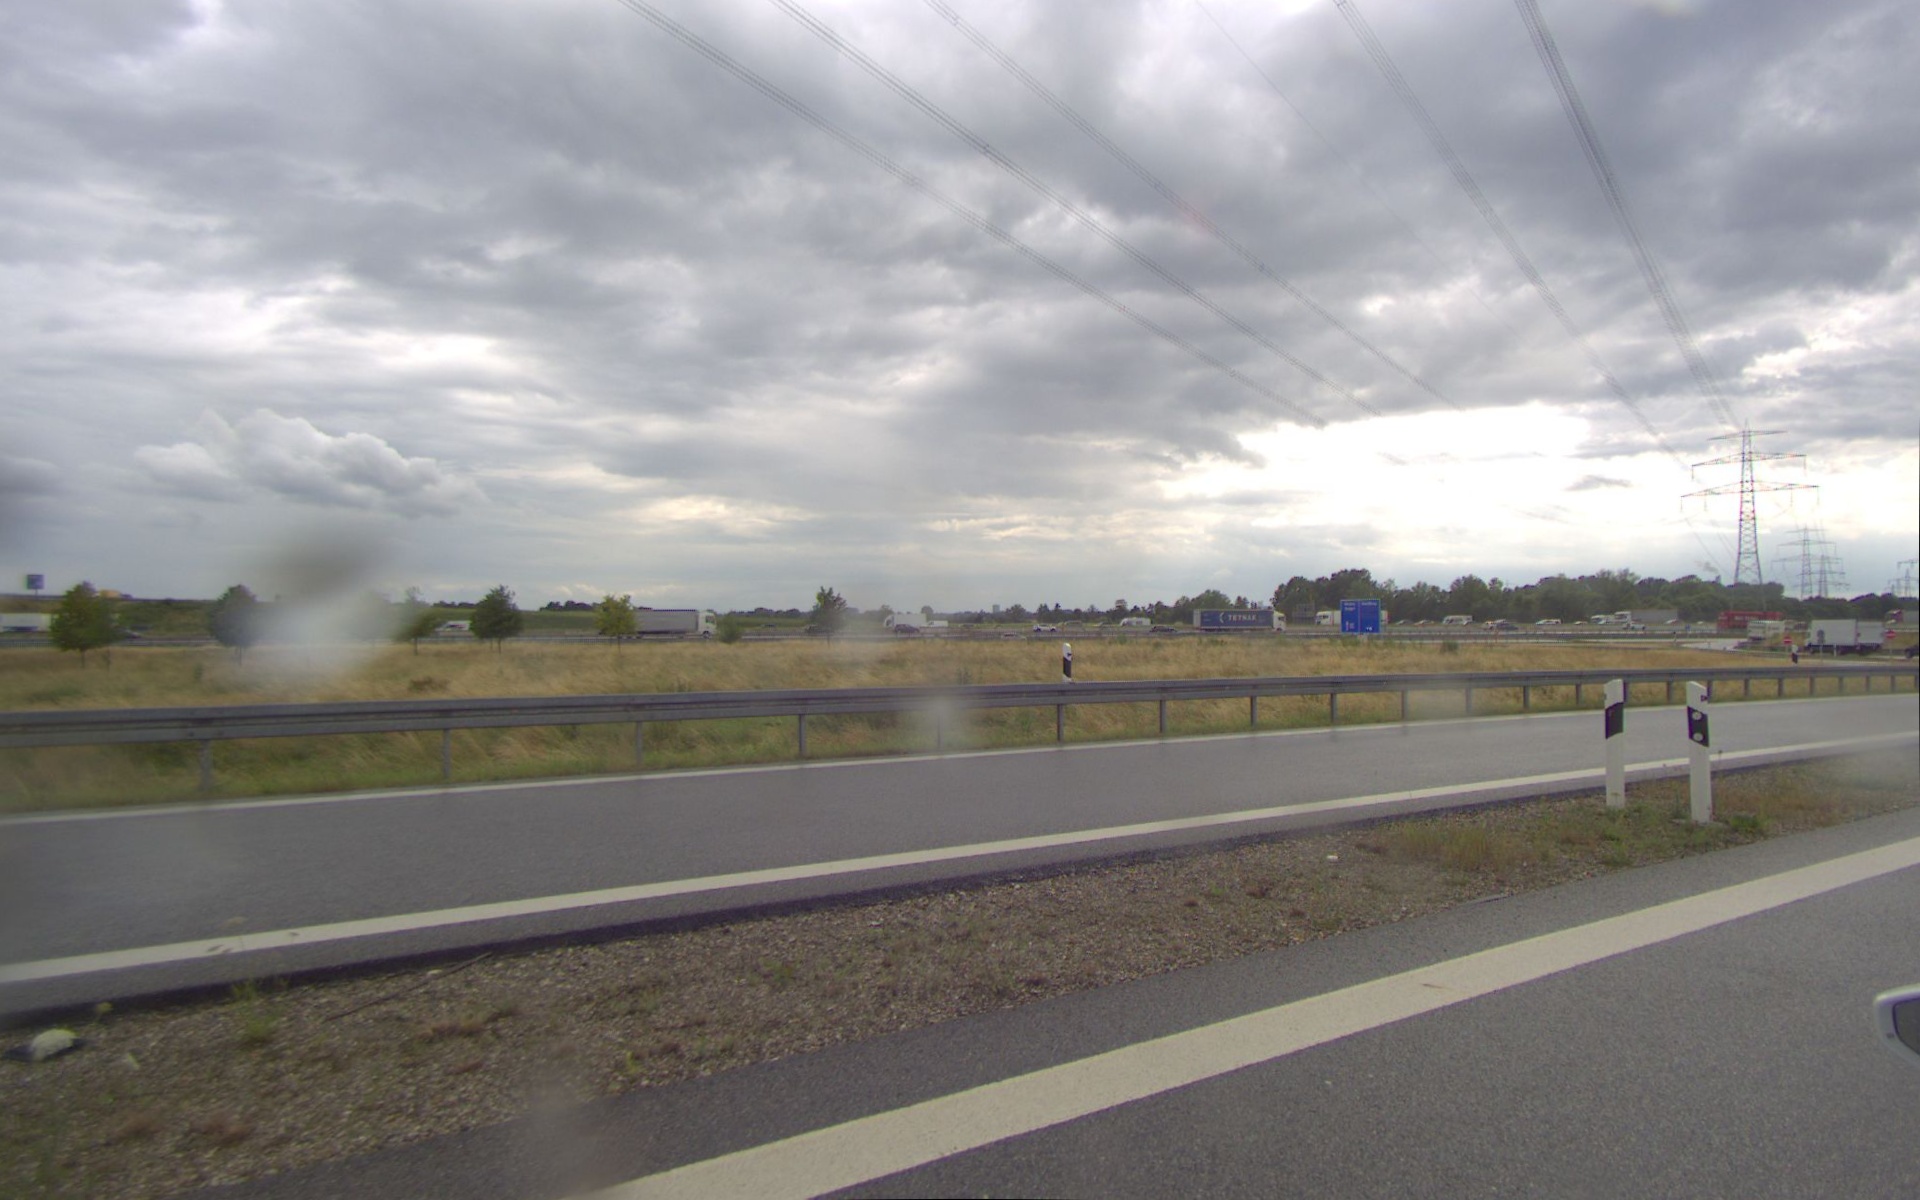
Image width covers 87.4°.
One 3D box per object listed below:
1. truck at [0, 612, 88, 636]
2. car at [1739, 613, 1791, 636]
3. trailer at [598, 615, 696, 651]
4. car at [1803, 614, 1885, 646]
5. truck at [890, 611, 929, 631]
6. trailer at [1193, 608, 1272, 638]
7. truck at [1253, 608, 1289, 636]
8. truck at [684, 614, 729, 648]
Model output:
[{"bbox_3d":[-140.911,3.669,152.909,11.844,3.133,3.222,-3,0,-15],"label":"truck"},{"bbox_3d":[133.843,4.105,166.971,8.928,3.658,3.371,1,-1,-27],"label":"car"},{"bbox_3d":[-44.925,4.648,144.489,13.171,4.678,3.472,-2,0,-16],"label":"trailer"},{"bbox_3d":[91.014,3.012,103.562,3.082,2.991,7.212,-2,0,11],"label":"car"},{"bbox_3d":[-9.426,3.881,188.619,6.988,3.517,1.994,-2,0,-14],"label":"truck"},{"bbox_3d":[45.856,3.820,169.159,13.083,4.698,3.047,-2,0,-16],"label":"trailer"},{"bbox_3d":[52.950,3.668,171.156,4.989,4.540,3.068,-2,0,-16],"label":"truck"},{"bbox_3d":[-37.052,4.461,146.743,6.164,4.627,3.340,-2,0,-16],"label":"truck"}]
